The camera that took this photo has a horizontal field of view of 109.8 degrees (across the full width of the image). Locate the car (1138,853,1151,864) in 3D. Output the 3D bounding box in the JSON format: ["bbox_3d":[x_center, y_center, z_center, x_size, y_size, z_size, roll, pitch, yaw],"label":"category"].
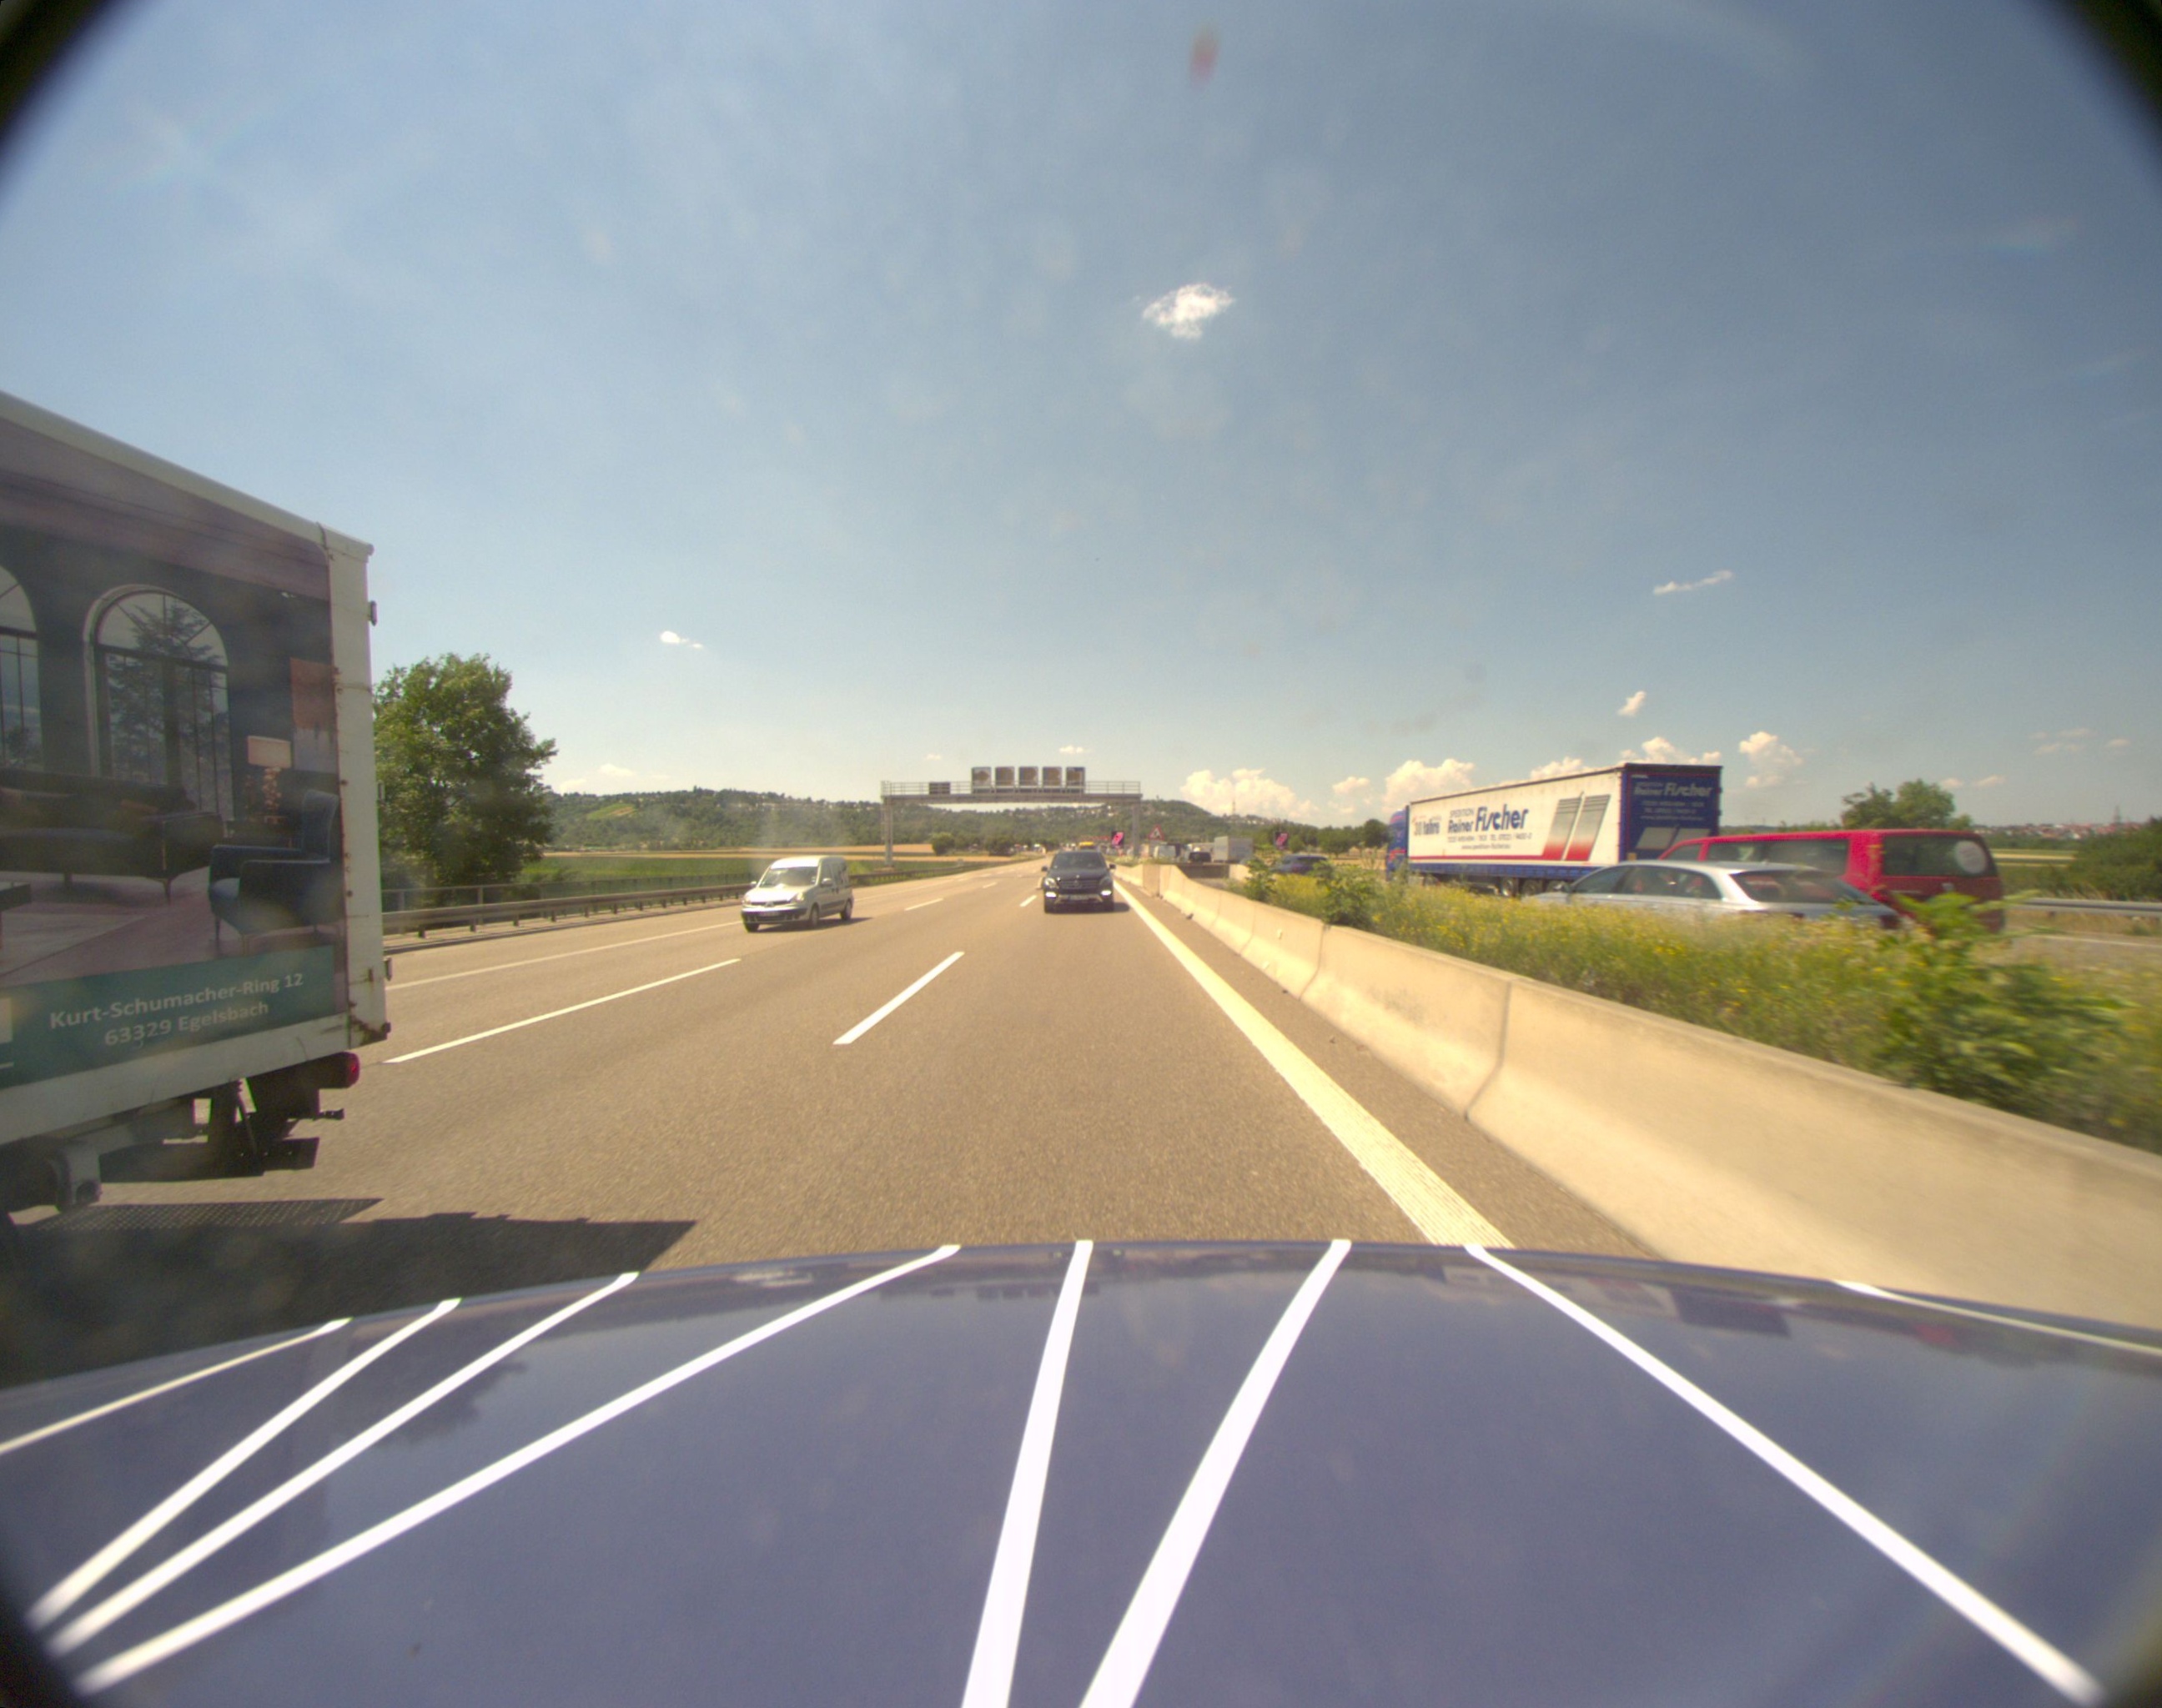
[{"bbox_3d":[9.105,0.584,109.201,1.563,1.561,3.704,-1,0,0],"label":"car"}]

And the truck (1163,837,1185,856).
[{"bbox_3d":[17.646,-1.375,145.126,2.983,3.587,9.993,-1,0,0],"label":"truck"}]

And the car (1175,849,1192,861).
[{"bbox_3d":[12.582,0.083,93.178,1.563,1.433,3.837,1,0,0],"label":"car"}]

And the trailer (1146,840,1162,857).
[{"bbox_3d":[18.115,-1.418,190.194,2.817,4.104,14.128,0,0,0],"label":"trailer"}]

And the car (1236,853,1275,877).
[{"bbox_3d":[12.556,0.744,54.854,1.894,1.645,4.094,0,0,0],"label":"car"}]

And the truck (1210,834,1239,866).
[{"bbox_3d":[16.345,-0.489,86.745,2.704,3.566,4.000,1,1,2],"label":"truck"}]

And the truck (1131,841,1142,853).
[{"bbox_3d":[17.805,-2.228,244.600,2.801,3.589,13.288,1,1,1],"label":"truck"}]

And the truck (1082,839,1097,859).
[{"bbox_3d":[1.500,-0.913,128.687,2.272,3.139,8.185,-2,1,1],"label":"truck"}]

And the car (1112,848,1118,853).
[{"bbox_3d":[11.060,-1.116,246.483,1.601,1.460,4.533,0,0,0],"label":"car"}]

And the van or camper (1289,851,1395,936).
[{"bbox_3d":[8.797,1.238,26.038,2.153,2.613,4.397,0,1,0],"label":"van or camper"}]

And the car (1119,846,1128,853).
[{"bbox_3d":[9.892,-1.016,177.493,1.899,1.569,4.935,-2,1,0],"label":"car"}]

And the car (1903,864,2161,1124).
[{"bbox_3d":[7.437,0.868,3.809,1.689,1.557,4.562,0,0,0],"label":"car"}]

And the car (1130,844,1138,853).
[{"bbox_3d":[15.142,-1.675,217.108,2.052,2.486,5.811,0,0,0],"label":"car"}]

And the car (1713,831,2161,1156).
[{"bbox_3d":[7.432,0.818,5.335,1.998,1.934,4.794,0,1,0],"label":"car"}]

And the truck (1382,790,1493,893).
[{"bbox_3d":[15.779,-0.531,33.996,2.599,4.214,4.854,2,1,0],"label":"truck"}]

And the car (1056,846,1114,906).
[{"bbox_3d":[0.169,0.656,24.360,1.630,1.711,3.865,-3,0,1],"label":"car"}]

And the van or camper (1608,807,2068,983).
[{"bbox_3d":[11.649,0.523,12.524,2.099,2.261,5.493,0,0,0],"label":"van or camper"}]

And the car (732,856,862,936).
[{"bbox_3d":[-6.956,0.960,19.092,1.630,1.727,3.973,-2,0,1],"label":"car"}]

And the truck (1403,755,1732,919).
[{"bbox_3d":[15.713,-0.489,26.943,2.599,4.214,14.121,2,1,1],"label":"truck"}]

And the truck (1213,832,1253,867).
[{"bbox_3d":[16.177,-0.477,81.330,2.706,3.599,8.787,1,0,2],"label":"truck"}]
